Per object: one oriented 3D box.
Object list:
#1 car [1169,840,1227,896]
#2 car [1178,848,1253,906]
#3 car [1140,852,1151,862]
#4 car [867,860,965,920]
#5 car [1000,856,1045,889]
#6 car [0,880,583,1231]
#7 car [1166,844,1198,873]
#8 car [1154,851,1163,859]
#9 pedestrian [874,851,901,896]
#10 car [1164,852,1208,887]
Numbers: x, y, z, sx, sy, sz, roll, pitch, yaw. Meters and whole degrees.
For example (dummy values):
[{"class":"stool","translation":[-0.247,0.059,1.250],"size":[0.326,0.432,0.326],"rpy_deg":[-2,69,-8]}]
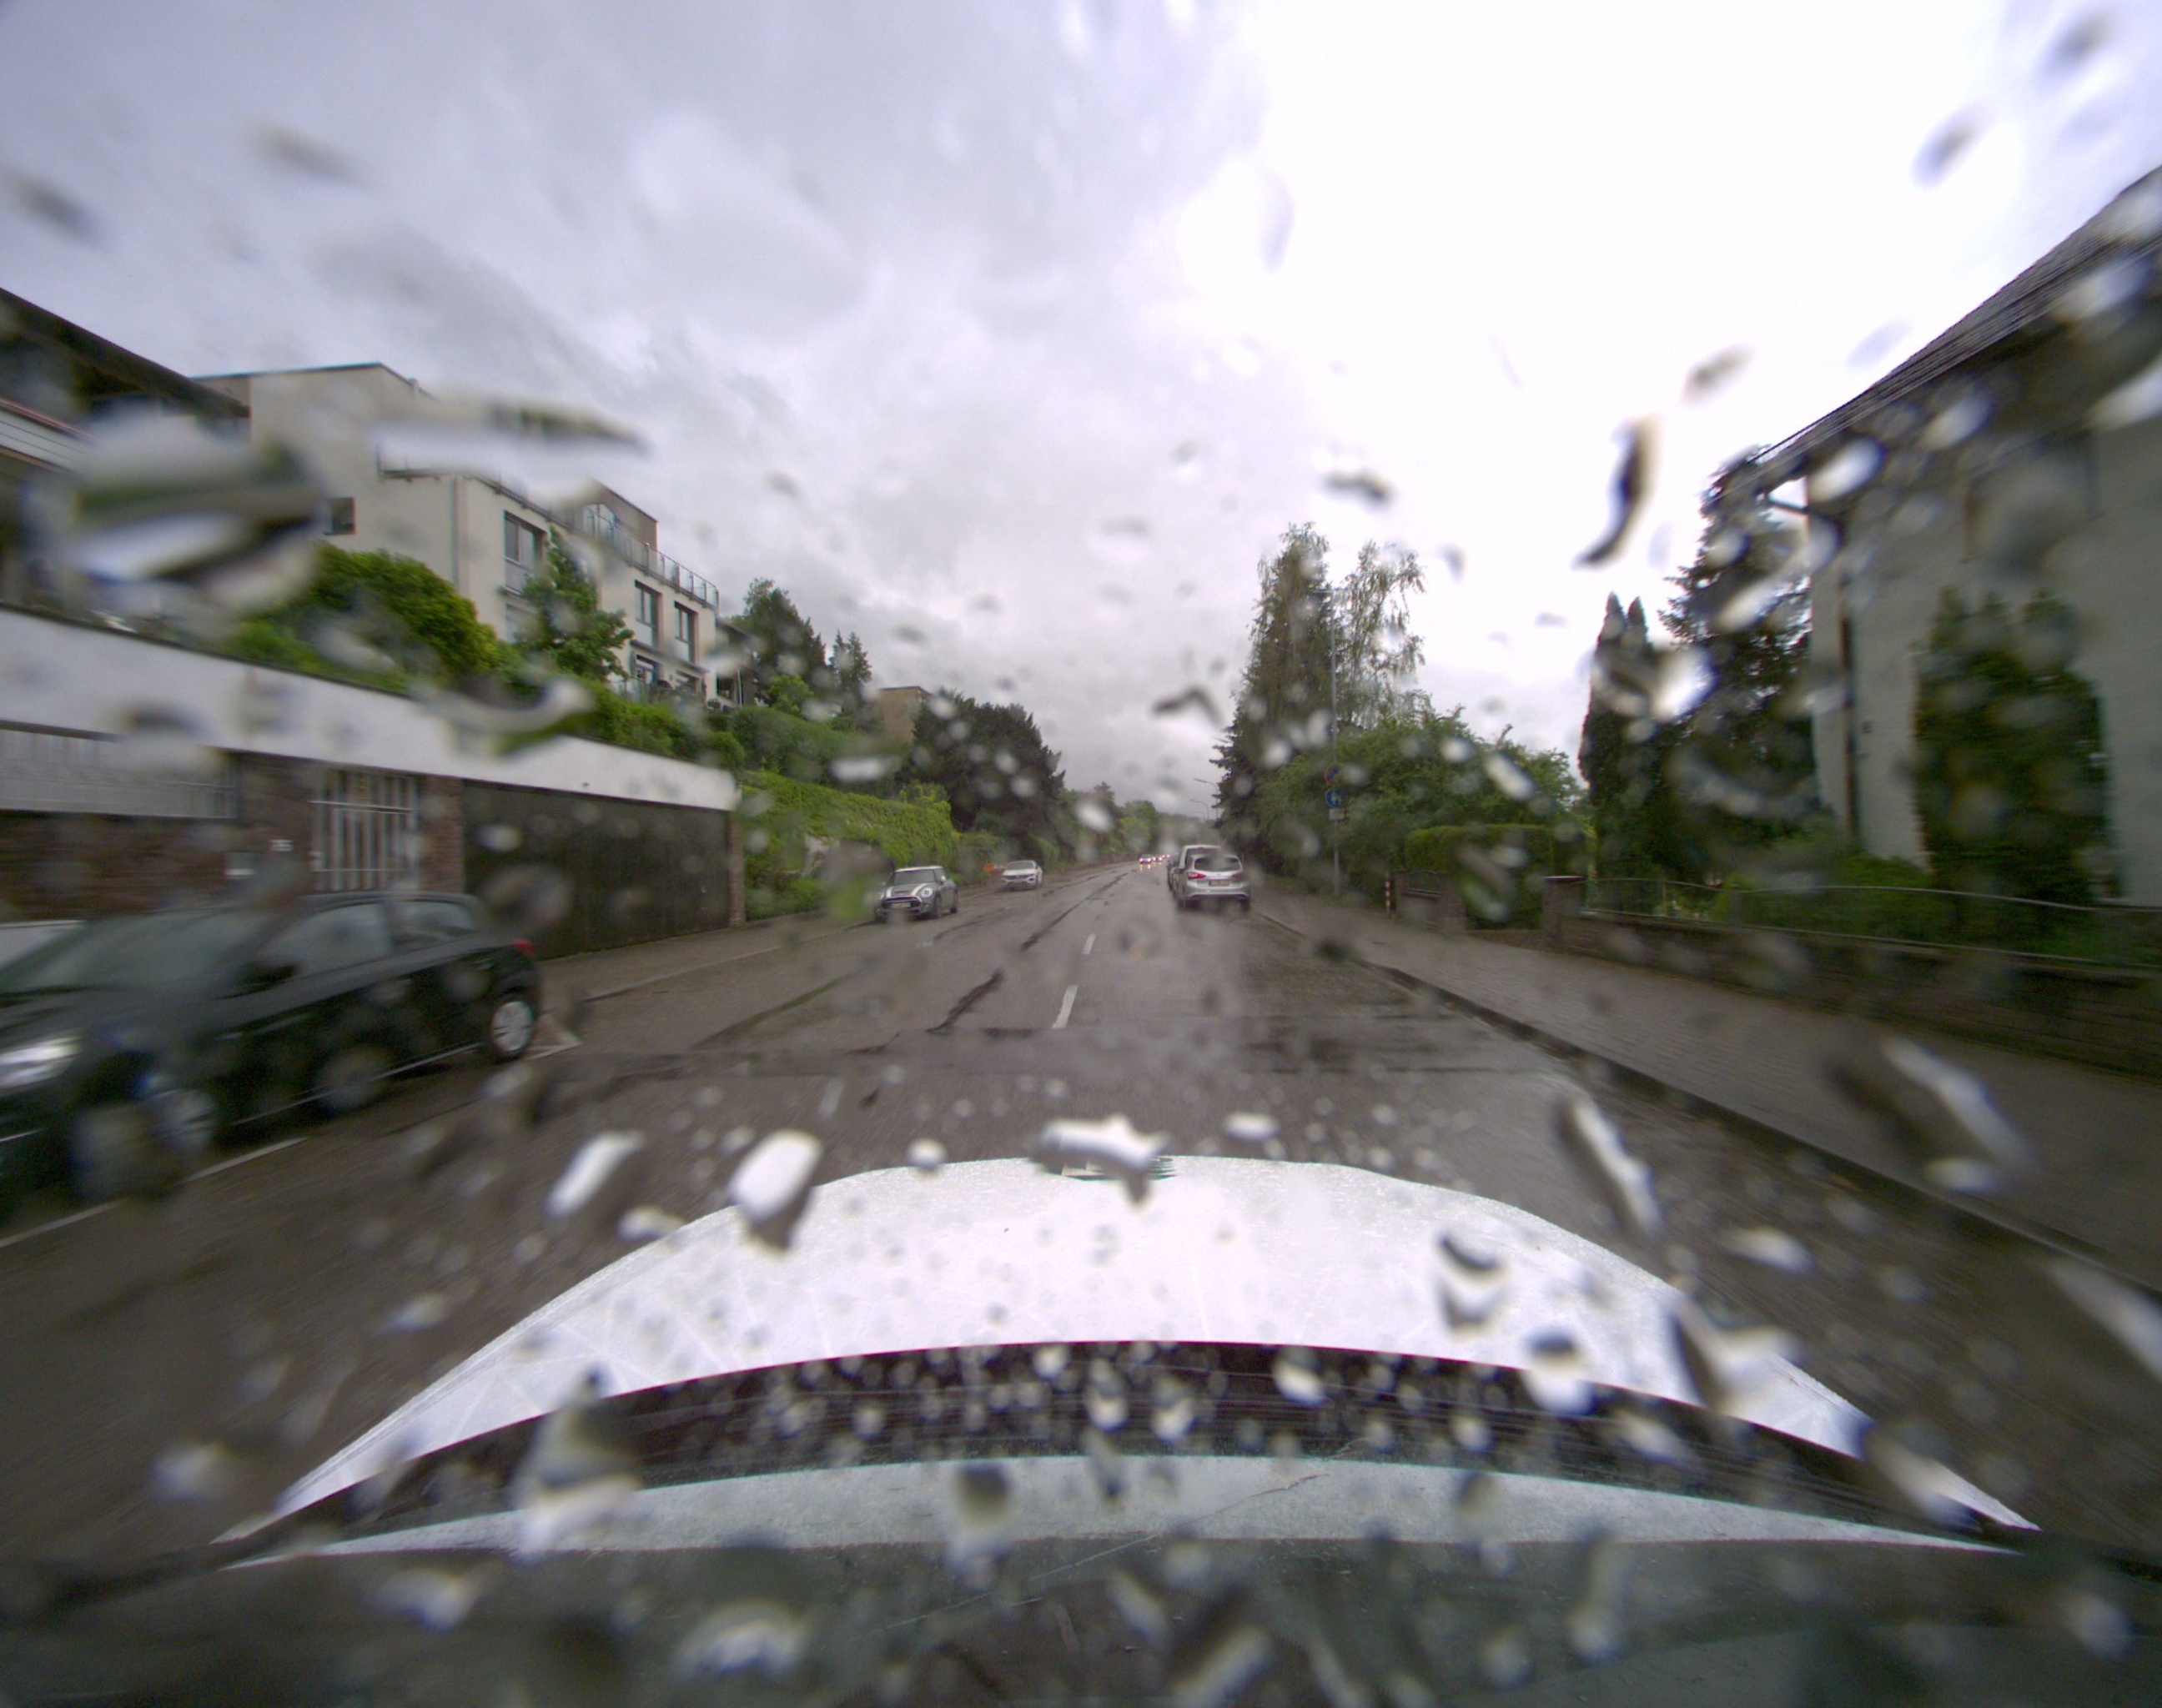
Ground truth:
[{"class":"car","translation":[4.020,0.457,28.616],"size":[1.776,1.790,4.367],"rpy_deg":[-1,-1,5]},{"class":"car","translation":[3.702,0.605,23.059],"size":[1.780,1.460,4.314],"rpy_deg":[-1,0,5]},{"class":"car","translation":[10.212,0.489,128.621],"size":[1.655,1.461,3.665],"rpy_deg":[-1,-1,3]},{"class":"car","translation":[-4.513,0.952,22.825],"size":[1.749,1.402,3.772],"rpy_deg":[-4,0,2]},{"class":"car","translation":[-2.967,0.924,41.912],"size":[1.749,1.498,4.223],"rpy_deg":[-3,-1,3]},{"class":"car","translation":[-5.446,1.008,5.462],"size":[1.749,1.409,3.706],"rpy_deg":[-4,0,2]},{"class":"car","translation":[6.088,0.295,49.593],"size":[1.806,1.645,4.402],"rpy_deg":[-1,0,5]},{"class":"car","translation":[14.840,0.210,156.565],"size":[1.646,1.352,3.993],"rpy_deg":[-1,0,5]},{"class":"pedestrian","translation":[-8.085,0.810,34.065],"size":[0.838,1.880,0.903],"rpy_deg":[0,-1,6]},{"class":"car","translation":[4.499,0.640,35.280],"size":[1.701,1.403,4.209],"rpy_deg":[-1,0,5]}]
